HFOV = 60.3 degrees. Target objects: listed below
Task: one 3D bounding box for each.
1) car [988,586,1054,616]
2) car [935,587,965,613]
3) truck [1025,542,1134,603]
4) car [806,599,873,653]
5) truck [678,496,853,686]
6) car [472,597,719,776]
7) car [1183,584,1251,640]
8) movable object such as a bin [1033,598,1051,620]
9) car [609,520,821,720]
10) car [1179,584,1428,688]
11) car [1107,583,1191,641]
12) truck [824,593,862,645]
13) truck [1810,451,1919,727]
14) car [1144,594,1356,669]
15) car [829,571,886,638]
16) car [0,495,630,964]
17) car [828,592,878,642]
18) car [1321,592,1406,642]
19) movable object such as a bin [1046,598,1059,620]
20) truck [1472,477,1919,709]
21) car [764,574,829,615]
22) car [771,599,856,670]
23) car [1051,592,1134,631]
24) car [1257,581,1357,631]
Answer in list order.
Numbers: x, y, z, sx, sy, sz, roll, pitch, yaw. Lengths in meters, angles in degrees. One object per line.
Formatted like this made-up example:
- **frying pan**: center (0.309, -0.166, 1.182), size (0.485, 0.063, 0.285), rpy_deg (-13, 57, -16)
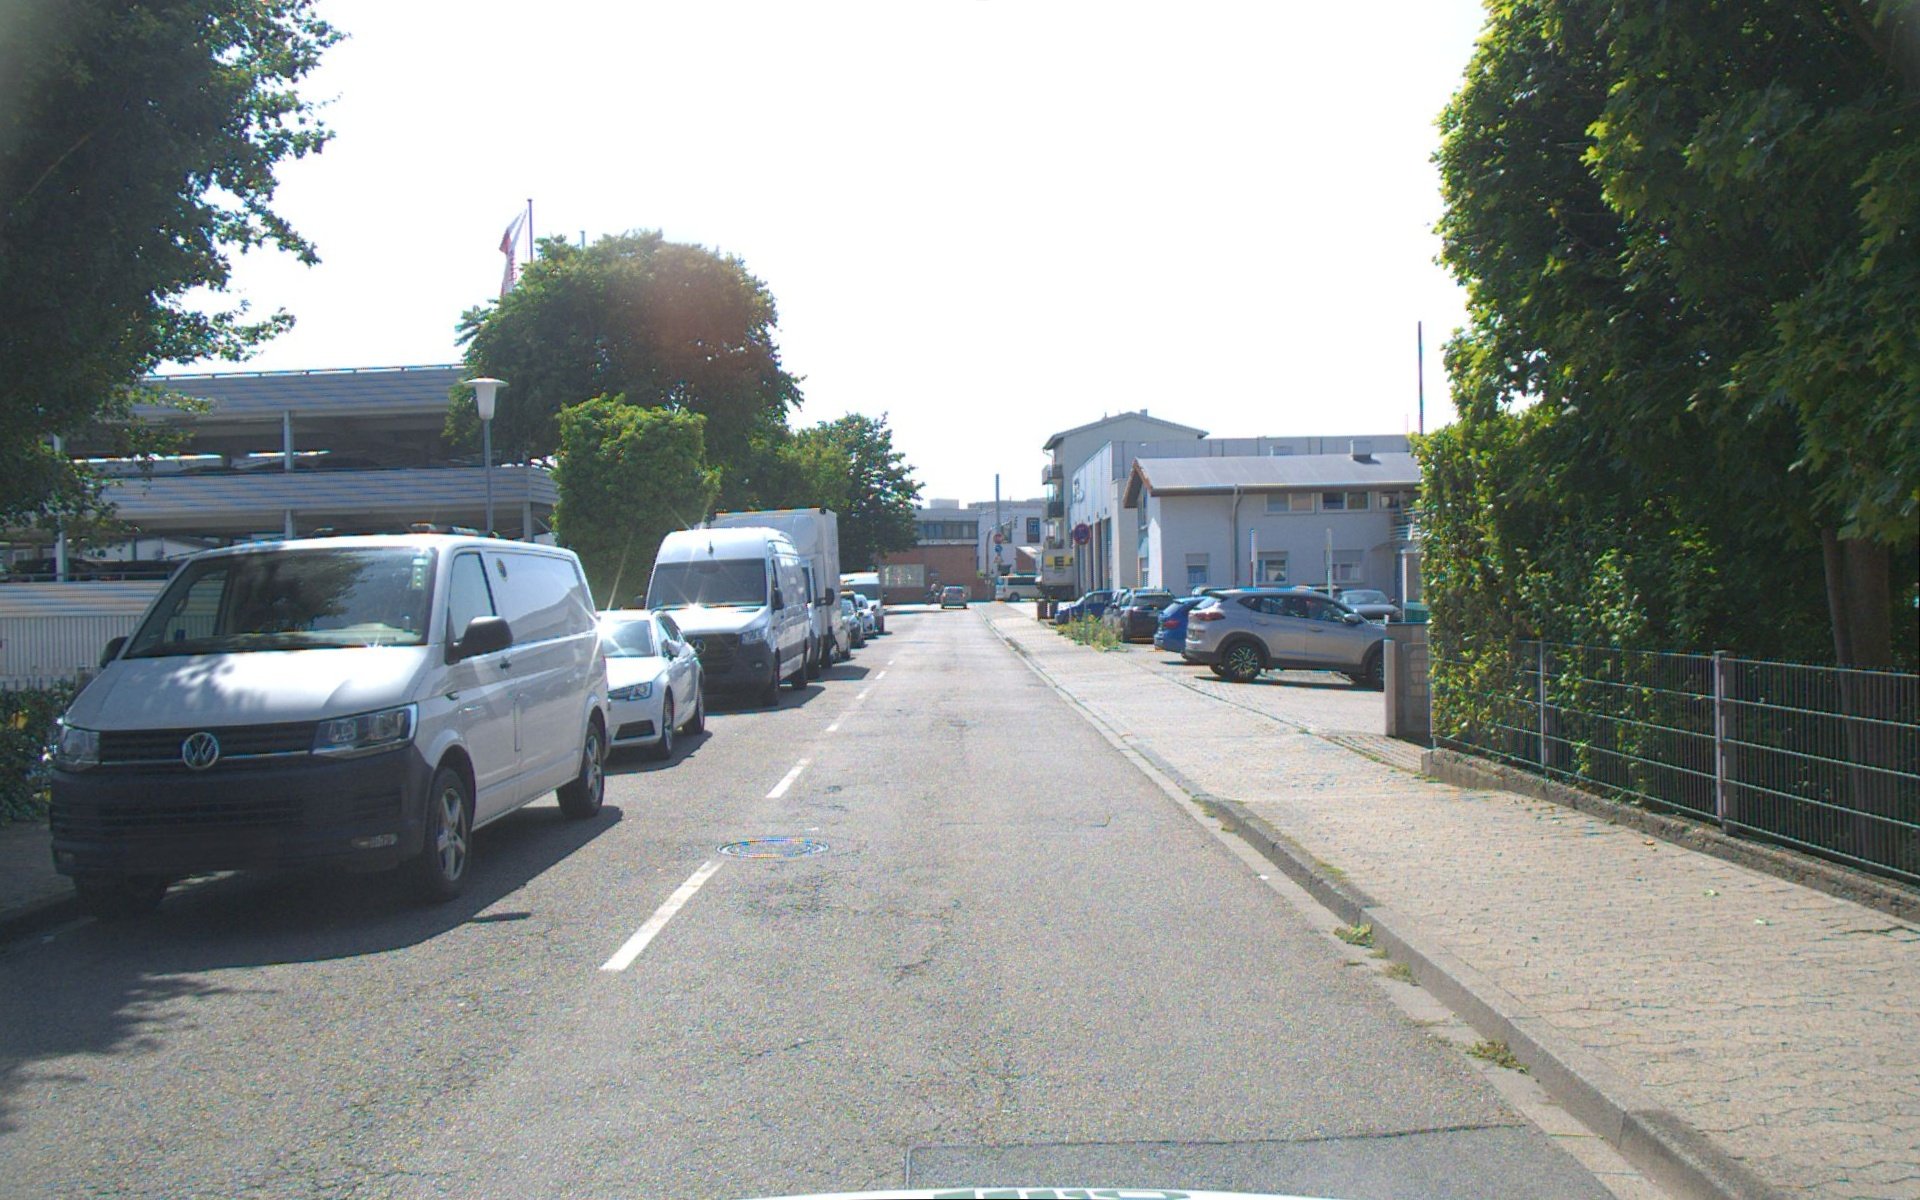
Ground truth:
- **car**: center (4.626, 0.063, 126.295), size (4.585, 1.992, 1.905), rpy_deg (-3, -1, -20)
- **car**: center (-0.700, 0.029, 112.966), size (1.853, 1.714, 3.955), rpy_deg (2, 0, -3)
- **truck**: center (8.499, -1.969, 118.110), size (7.220, 3.708, 2.764), rpy_deg (-4, 1, -7)
- **car**: center (-3.627, 0.754, 50.484), size (1.670, 1.488, 4.114), rpy_deg (-3, 0, 0)
- **truck**: center (-3.830, -0.147, 34.222), size (2.630, 3.425, 7.130), rpy_deg (-2, 0, 0)
- **car**: center (-3.672, 0.797, 17.414), size (1.679, 1.570, 4.399), rpy_deg (-3, 0, -2)
- **car**: center (8.109, 0.347, 52.425), size (1.723, 1.622, 3.620), rpy_deg (2, 1, 3)
- **movable object such as a bin**: center (3.691, 0.385, 74.464), size (0.557, 0.962, 0.556), rpy_deg (-2, 1, 33)
- **car**: center (-3.648, 0.291, 26.152), size (2.124, 2.641, 6.920), rpy_deg (-3, 0, 1)
- **car**: center (6.212, 0.633, 30.208), size (4.116, 1.711, 1.766), rpy_deg (2, 0, -1)
- **car**: center (5.575, 0.314, 49.365), size (1.820, 1.595, 4.950), rpy_deg (-2, 0, -1)
- **truck**: center (-3.954, 0.618, 56.262), size (1.116, 1.650, 3.139), rpy_deg (-3, 0, -3)
- **truck**: center (16.841, -0.221, 23.327), size (8.103, 3.674, 2.954), rpy_deg (-1, 0, 2)
- **car**: center (6.308, 0.664, 36.265), size (4.264, 1.466, 1.892), rpy_deg (-2, 0, -1)
- **car**: center (-3.972, 0.141, 65.047), size (1.965, 2.407, 5.227), rpy_deg (-4, 1, -2)
- **car**: center (-3.537, 0.607, 10.141), size (1.931, 2.049, 5.055), rpy_deg (-3, 0, 0)
- **car**: center (-3.901, 0.583, 59.872), size (1.671, 1.652, 3.969), rpy_deg (-3, 0, -5)
- **car**: center (11.878, 0.478, 48.882), size (1.607, 1.347, 4.102), rpy_deg (-1, 0, 2)
- **movable object such as a bin**: center (4.172, 0.396, 74.880), size (0.502, 0.962, 0.488), rpy_deg (-2, 0, 11)
- **truck**: center (12.634, -0.099, 27.559), size (7.364, 3.483, 2.527), rpy_deg (2, 0, 0)
- **car**: center (-10.623, -0.374, 107.712), size (4.003, 2.557, 1.776), rpy_deg (-1, 0, -2)
- **car**: center (-3.536, 0.800, 40.549), size (1.706, 1.547, 4.309), rpy_deg (-2, 0, -1)
- **car**: center (5.332, 0.457, 66.883), size (3.186, 1.423, 1.673), rpy_deg (-2, 0, 0)
- **car**: center (11.502, 0.199, 55.037), size (1.728, 1.522, 4.138), rpy_deg (-3, 0, -11)
